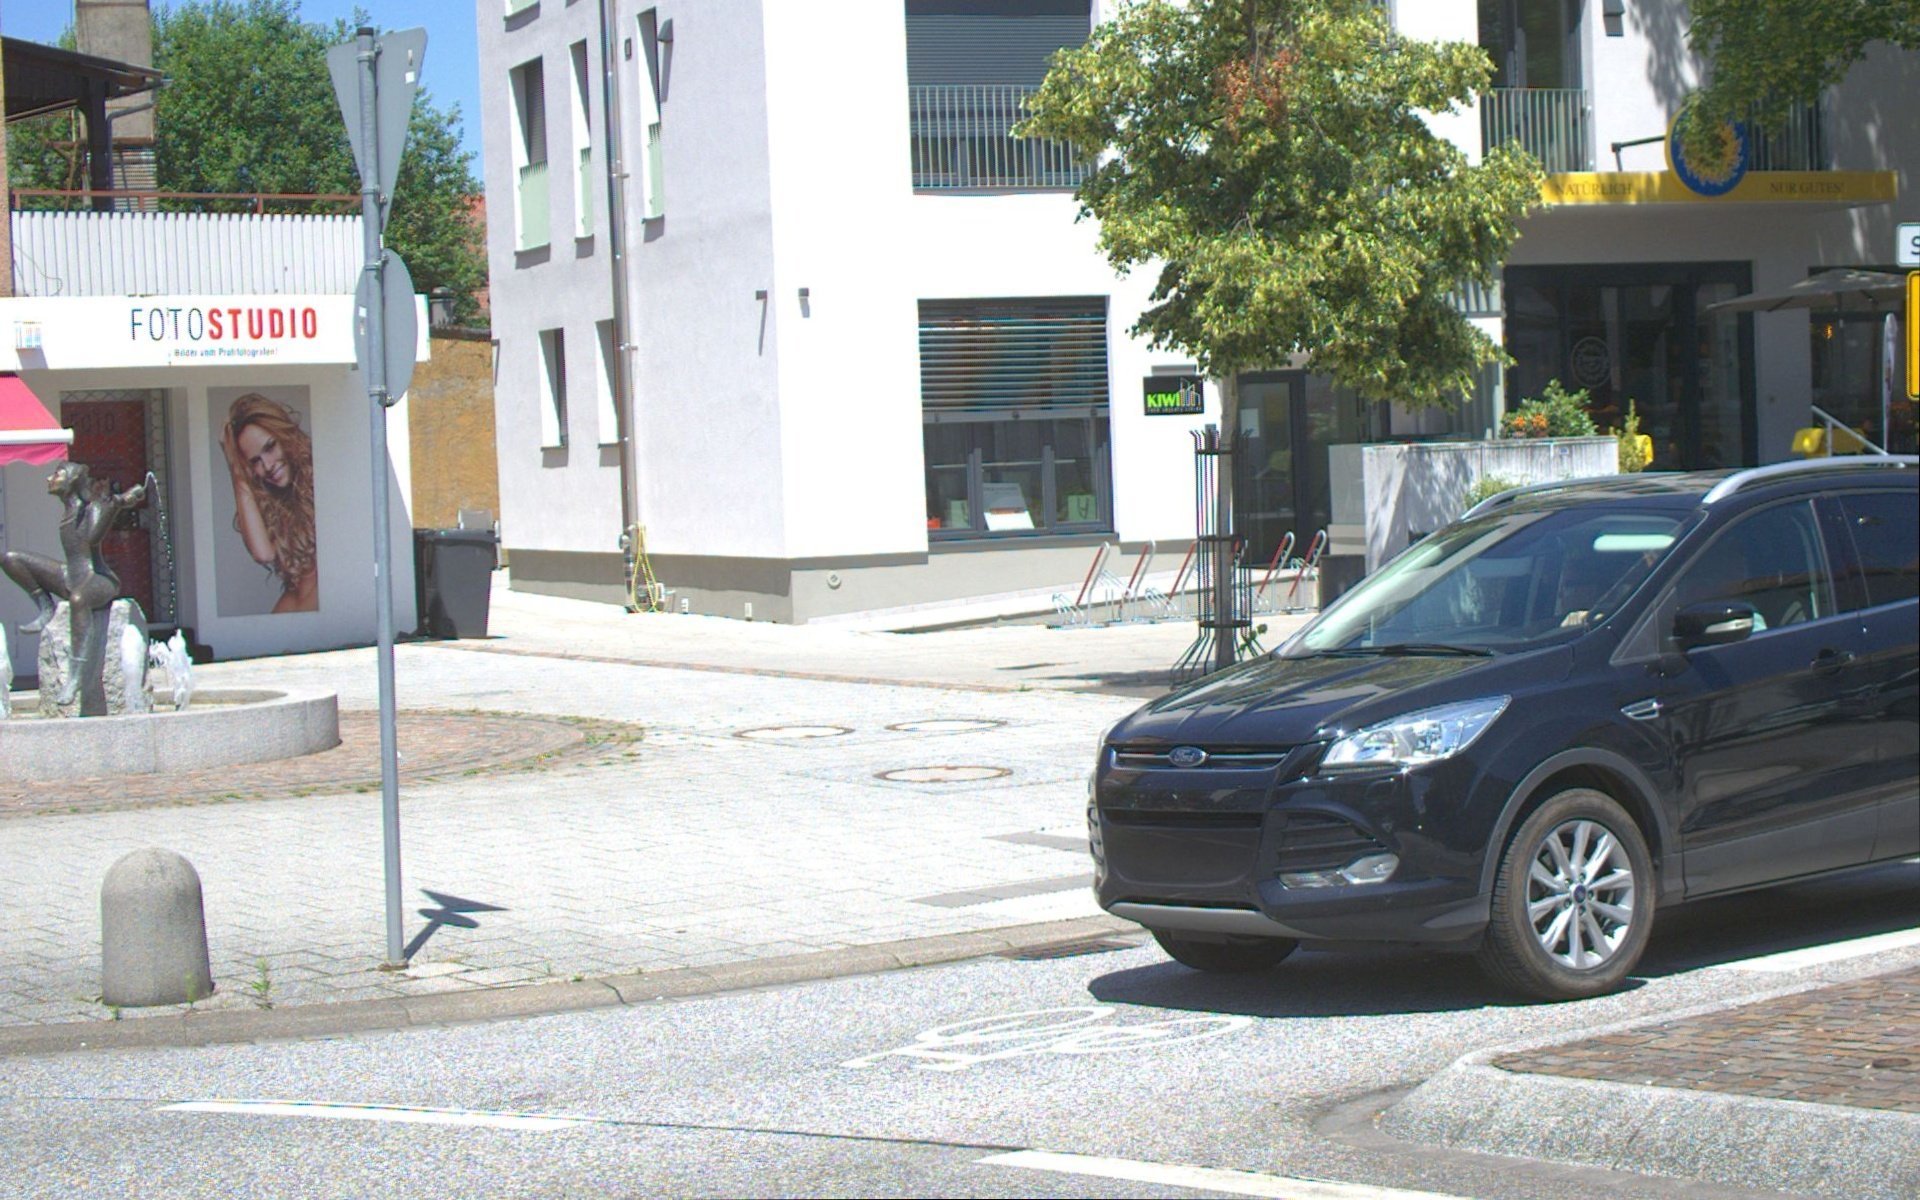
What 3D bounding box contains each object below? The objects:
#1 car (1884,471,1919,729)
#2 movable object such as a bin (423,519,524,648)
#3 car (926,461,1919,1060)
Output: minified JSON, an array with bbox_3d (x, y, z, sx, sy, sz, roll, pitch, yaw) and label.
[{"bbox_3d":[7.826,-0.090,22.151,3.990,1.584,1.801,-5,5,-43],"label":"car"},{"bbox_3d":[-4.690,-0.168,33.103,0.758,1.151,0.774,-4,5,-21],"label":"movable object such as a bin"},{"bbox_3d":[2.297,0.400,12.275,4.514,1.682,1.999,-4,2,-39],"label":"car"}]
